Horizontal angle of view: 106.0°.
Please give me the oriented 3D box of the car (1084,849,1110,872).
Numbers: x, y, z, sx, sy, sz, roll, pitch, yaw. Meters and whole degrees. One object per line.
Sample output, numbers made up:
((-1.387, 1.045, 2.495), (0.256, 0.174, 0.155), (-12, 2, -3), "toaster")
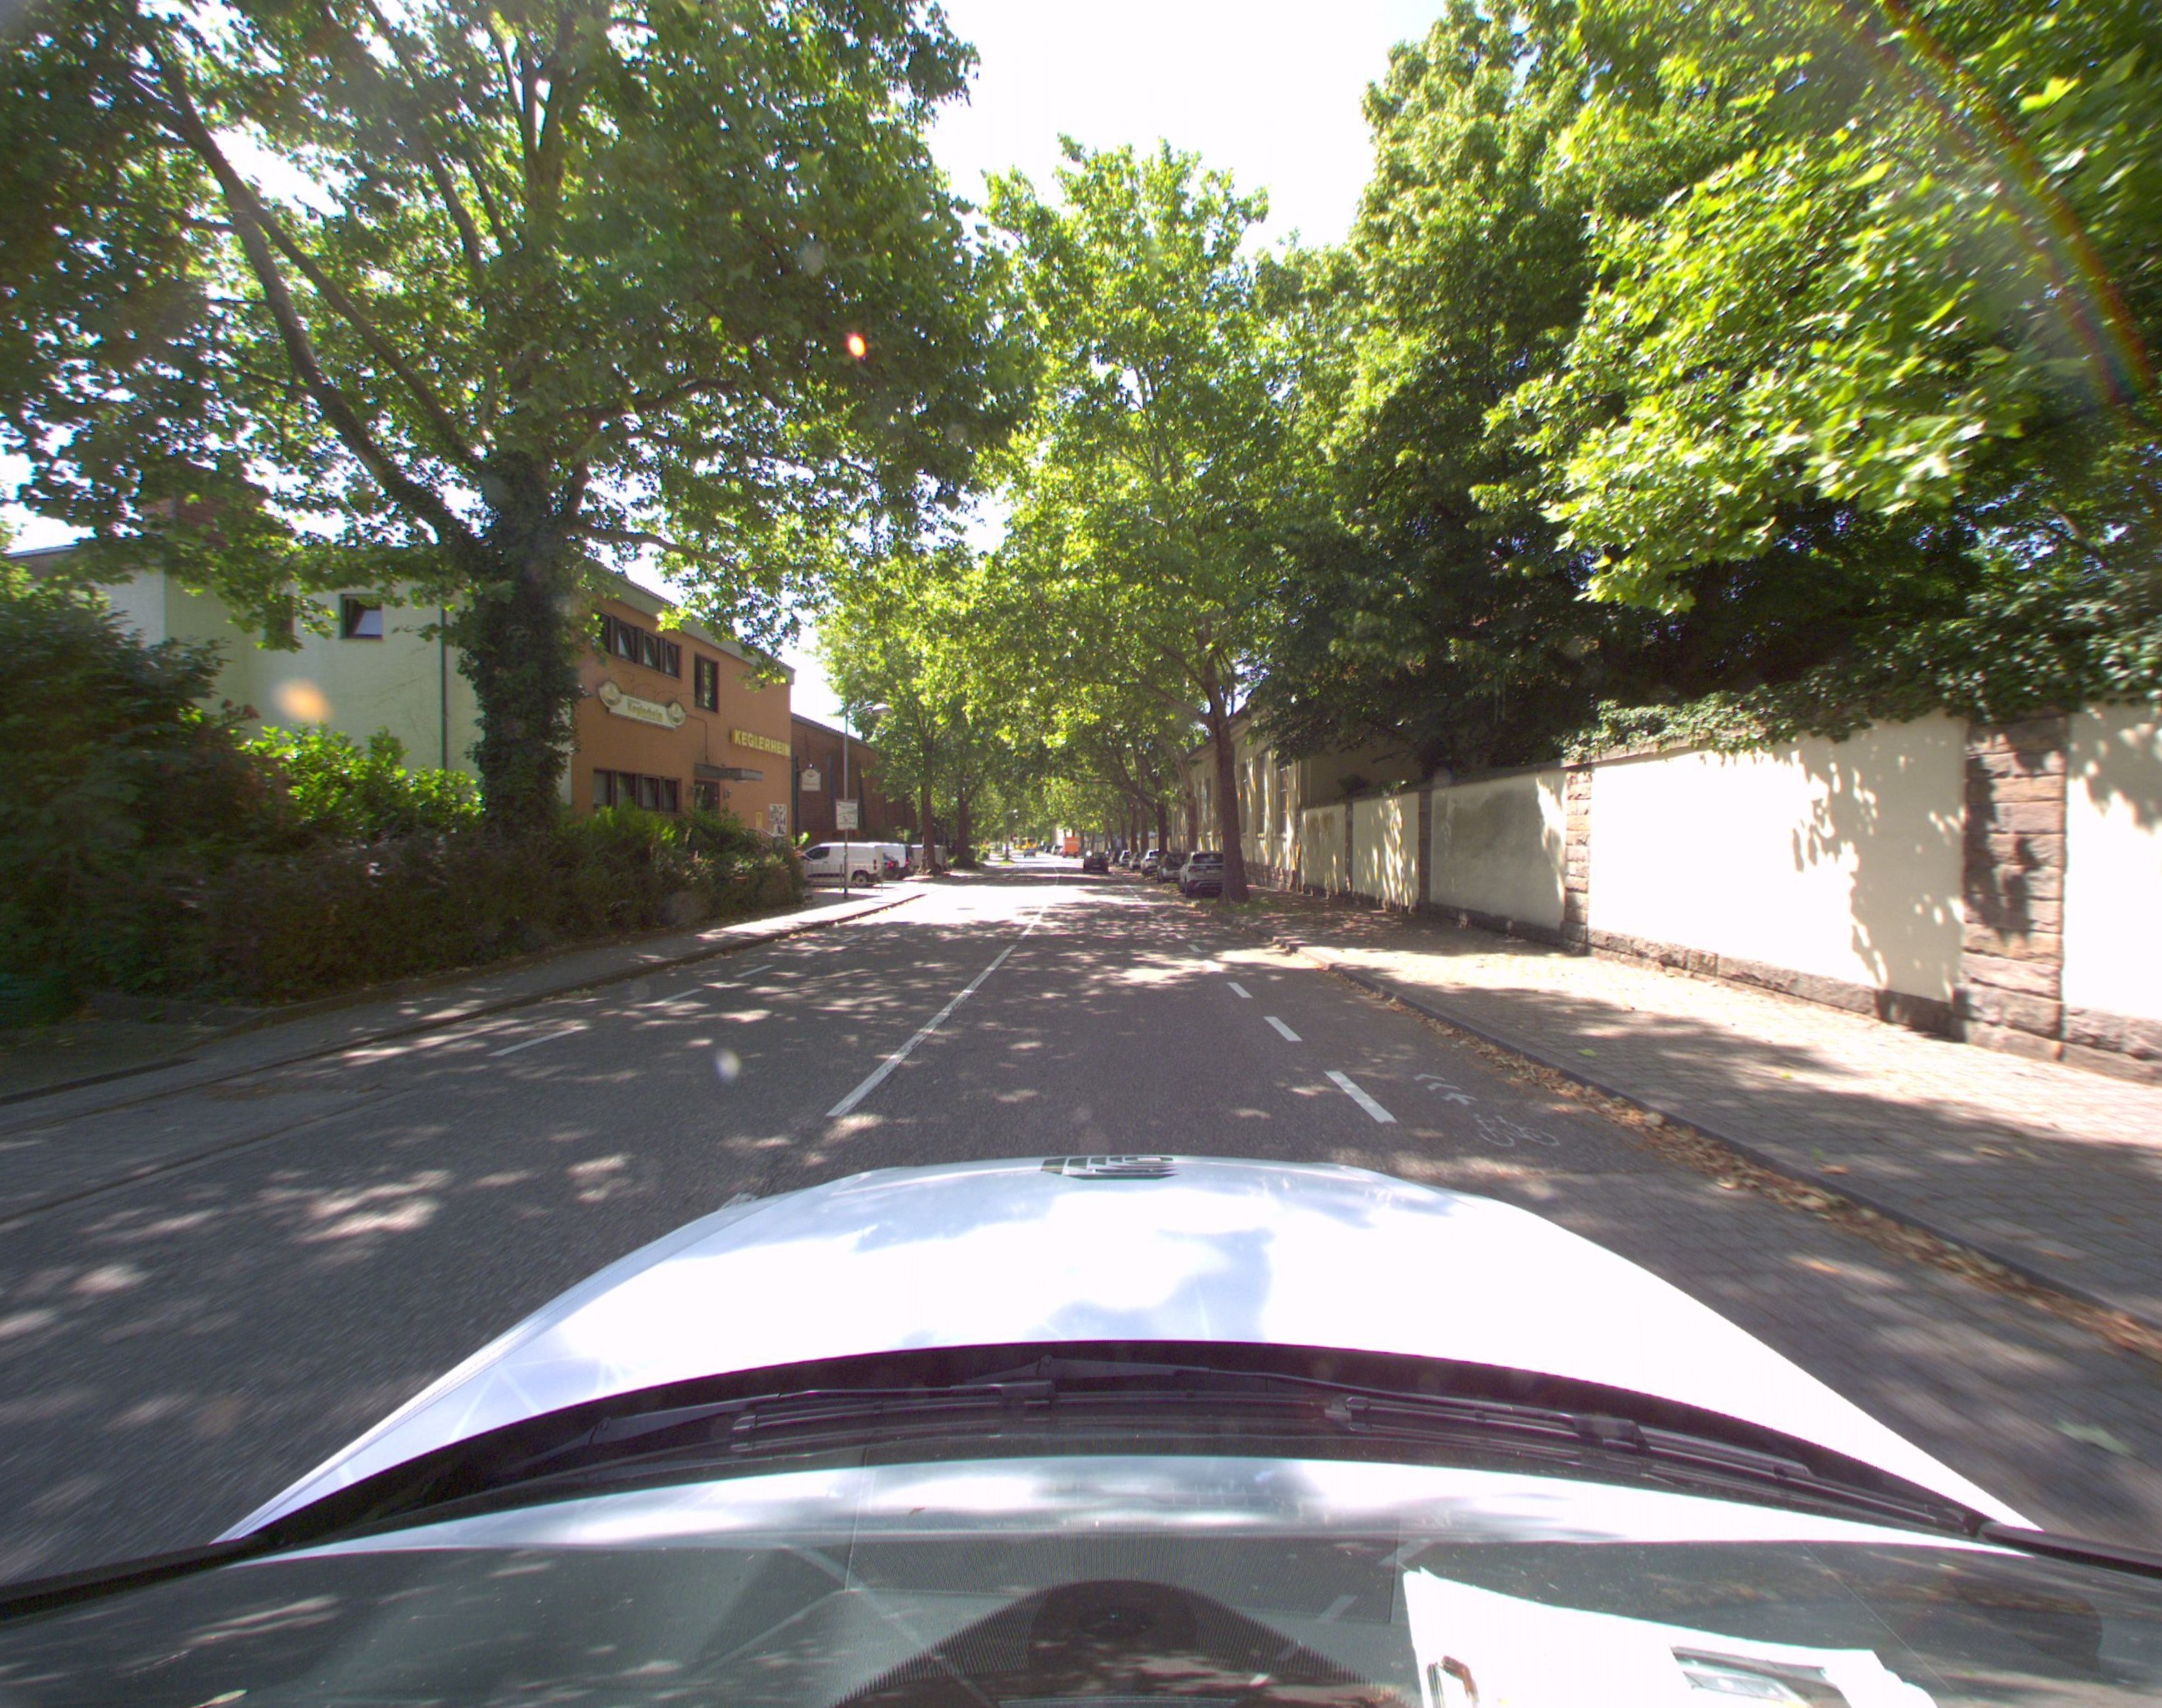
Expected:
((1.078, 0.426, 56.001), (1.706, 1.447, 4.057), (0, 1, 0), "car")

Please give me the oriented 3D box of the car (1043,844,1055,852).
((-6.279, -1.170, 158.158), (1.768, 1.374, 3.714), (-1, 0, -13), "car")

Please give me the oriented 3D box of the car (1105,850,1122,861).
((3.978, 0.166, 99.932), (1.763, 1.374, 3.724), (-1, 0, -4), "car")

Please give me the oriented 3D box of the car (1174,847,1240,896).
((4.401, 0.560, 29.102), (1.734, 1.557, 4.782), (-1, 1, 2), "car")

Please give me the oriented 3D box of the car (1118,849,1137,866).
((4.408, 0.321, 77.426), (1.573, 1.466, 3.873), (-1, 0, -1), "car")

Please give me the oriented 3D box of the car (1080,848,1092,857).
((0.862, -0.261, 135.361), (1.763, 1.374, 3.724), (1, 0, -4), "car")

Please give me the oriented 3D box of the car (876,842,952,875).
((-9.944, 0.265, 48.727), (4.118, 1.804, 1.901), (2, 0, -3), "car")

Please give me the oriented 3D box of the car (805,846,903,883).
((-10.538, 0.472, 38.028), (3.977, 1.515, 1.866), (2, 0, -3), "car")

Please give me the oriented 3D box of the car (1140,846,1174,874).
((4.841, 0.375, 52.414), (1.802, 1.689, 4.751), (-1, 0, 0), "car")

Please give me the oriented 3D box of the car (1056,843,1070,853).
((-3.042, -0.982, 136.872), (1.877, 1.686, 3.990), (1, -1, -7), "car")

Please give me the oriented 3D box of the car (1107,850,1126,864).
((3.918, 0.286, 90.144), (1.761, 1.466, 3.873), (-1, 0, -1), "car")

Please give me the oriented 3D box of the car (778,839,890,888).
((-10.105, 0.384, 33.518), (3.977, 1.792, 1.866), (2, 0, -3), "car")

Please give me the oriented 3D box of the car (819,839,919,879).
((-10.519, 0.257, 40.626), (4.413, 1.804, 1.901), (2, 0, -3), "car")

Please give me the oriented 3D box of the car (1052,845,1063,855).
((-4.206, -0.733, 144.391), (1.876, 1.686, 3.993), (0, -1, -4), "car")

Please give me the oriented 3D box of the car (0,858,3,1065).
((-8.670, 0.793, 4.608), (3.360, 1.546, 1.729), (0, 0, 10), "car")

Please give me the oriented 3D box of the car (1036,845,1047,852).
((-8.258, -1.110, 169.586), (1.768, 1.374, 3.714), (-1, 0, -12), "car")

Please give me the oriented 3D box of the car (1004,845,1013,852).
((-15.459, -1.210, 174.056), (1.709, 1.447, 4.048), (0, 0, -7), "car")

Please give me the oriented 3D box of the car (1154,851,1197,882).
((4.648, 0.593, 40.593), (1.616, 1.439, 4.433), (-1, 0, 0), "car")

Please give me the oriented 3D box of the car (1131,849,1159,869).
((4.930, 0.373, 63.071), (1.761, 1.433, 3.873), (-1, 0, -1), "car")

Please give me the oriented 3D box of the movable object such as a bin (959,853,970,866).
((-9.583, 0.459, 66.922), (0.732, 1.078, 0.701), (1, 0, 0), "movable object such as a bin")

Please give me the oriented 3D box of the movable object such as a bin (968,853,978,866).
((-8.880, 0.467, 66.969), (0.621, 1.048, 0.621), (1, 0, 3), "movable object such as a bin")

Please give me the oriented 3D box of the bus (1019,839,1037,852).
((-12.707, -1.963, 194.994), (2.665, 3.150, 11.151), (0, 0, -12), "bus")

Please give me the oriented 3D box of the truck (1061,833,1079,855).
((-1.653, -1.472, 120.947), (2.365, 3.134, 5.762), (0, -1, -3), "truck")

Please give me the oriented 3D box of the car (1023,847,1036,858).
((-7.893, -0.254, 125.078), (1.990, 1.666, 3.993), (0, -1, -5), "car")
